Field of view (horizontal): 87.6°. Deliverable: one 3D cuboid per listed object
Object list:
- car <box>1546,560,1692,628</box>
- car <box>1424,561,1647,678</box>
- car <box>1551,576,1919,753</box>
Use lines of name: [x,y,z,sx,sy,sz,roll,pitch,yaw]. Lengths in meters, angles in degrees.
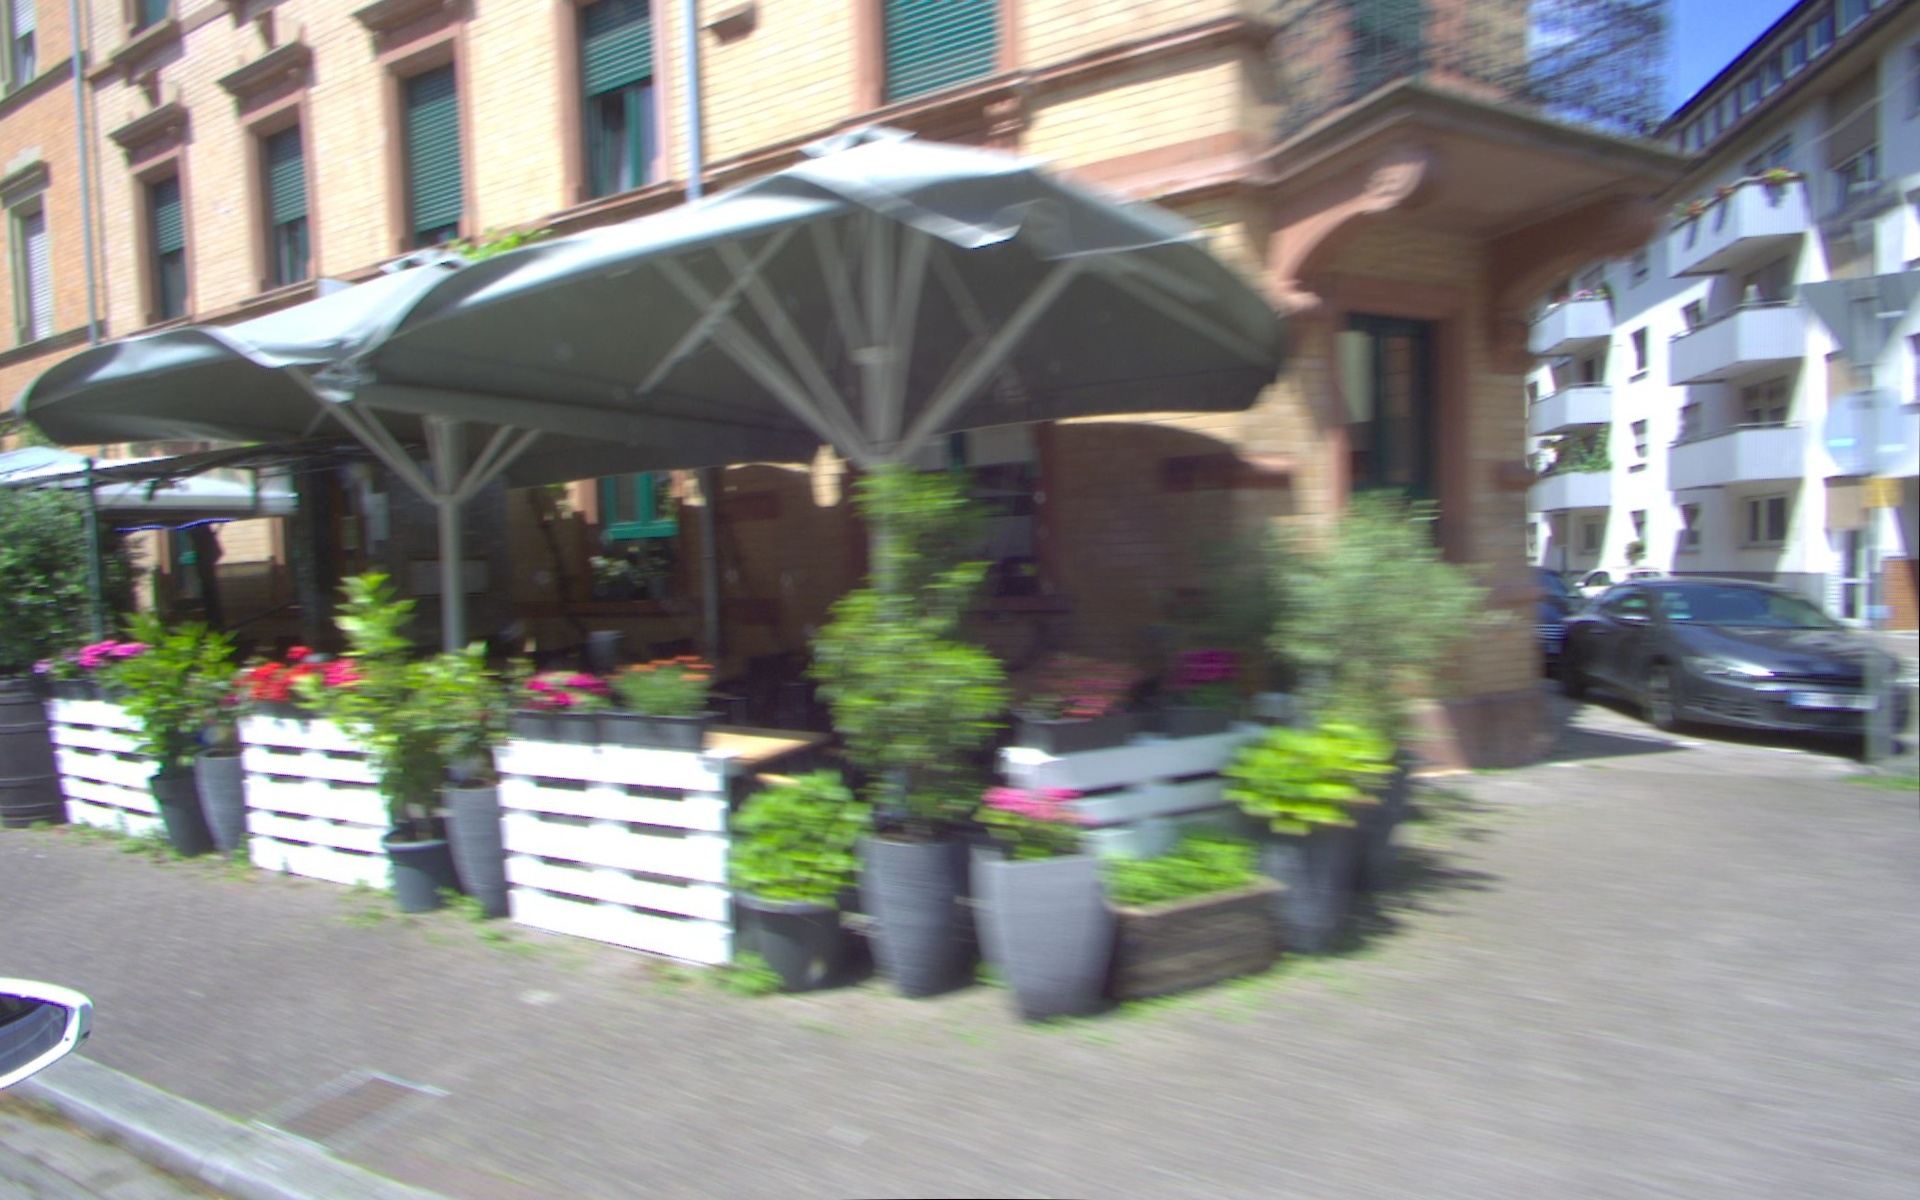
car: [16.730,-0.175,25.646,1.699,1.499,3.996,-3,0,12]
car: [8.712,0.231,15.599,1.881,1.557,4.130,-1,1,13]
car: [7.471,0.471,9.888,1.882,1.383,3.993,-1,1,16]
